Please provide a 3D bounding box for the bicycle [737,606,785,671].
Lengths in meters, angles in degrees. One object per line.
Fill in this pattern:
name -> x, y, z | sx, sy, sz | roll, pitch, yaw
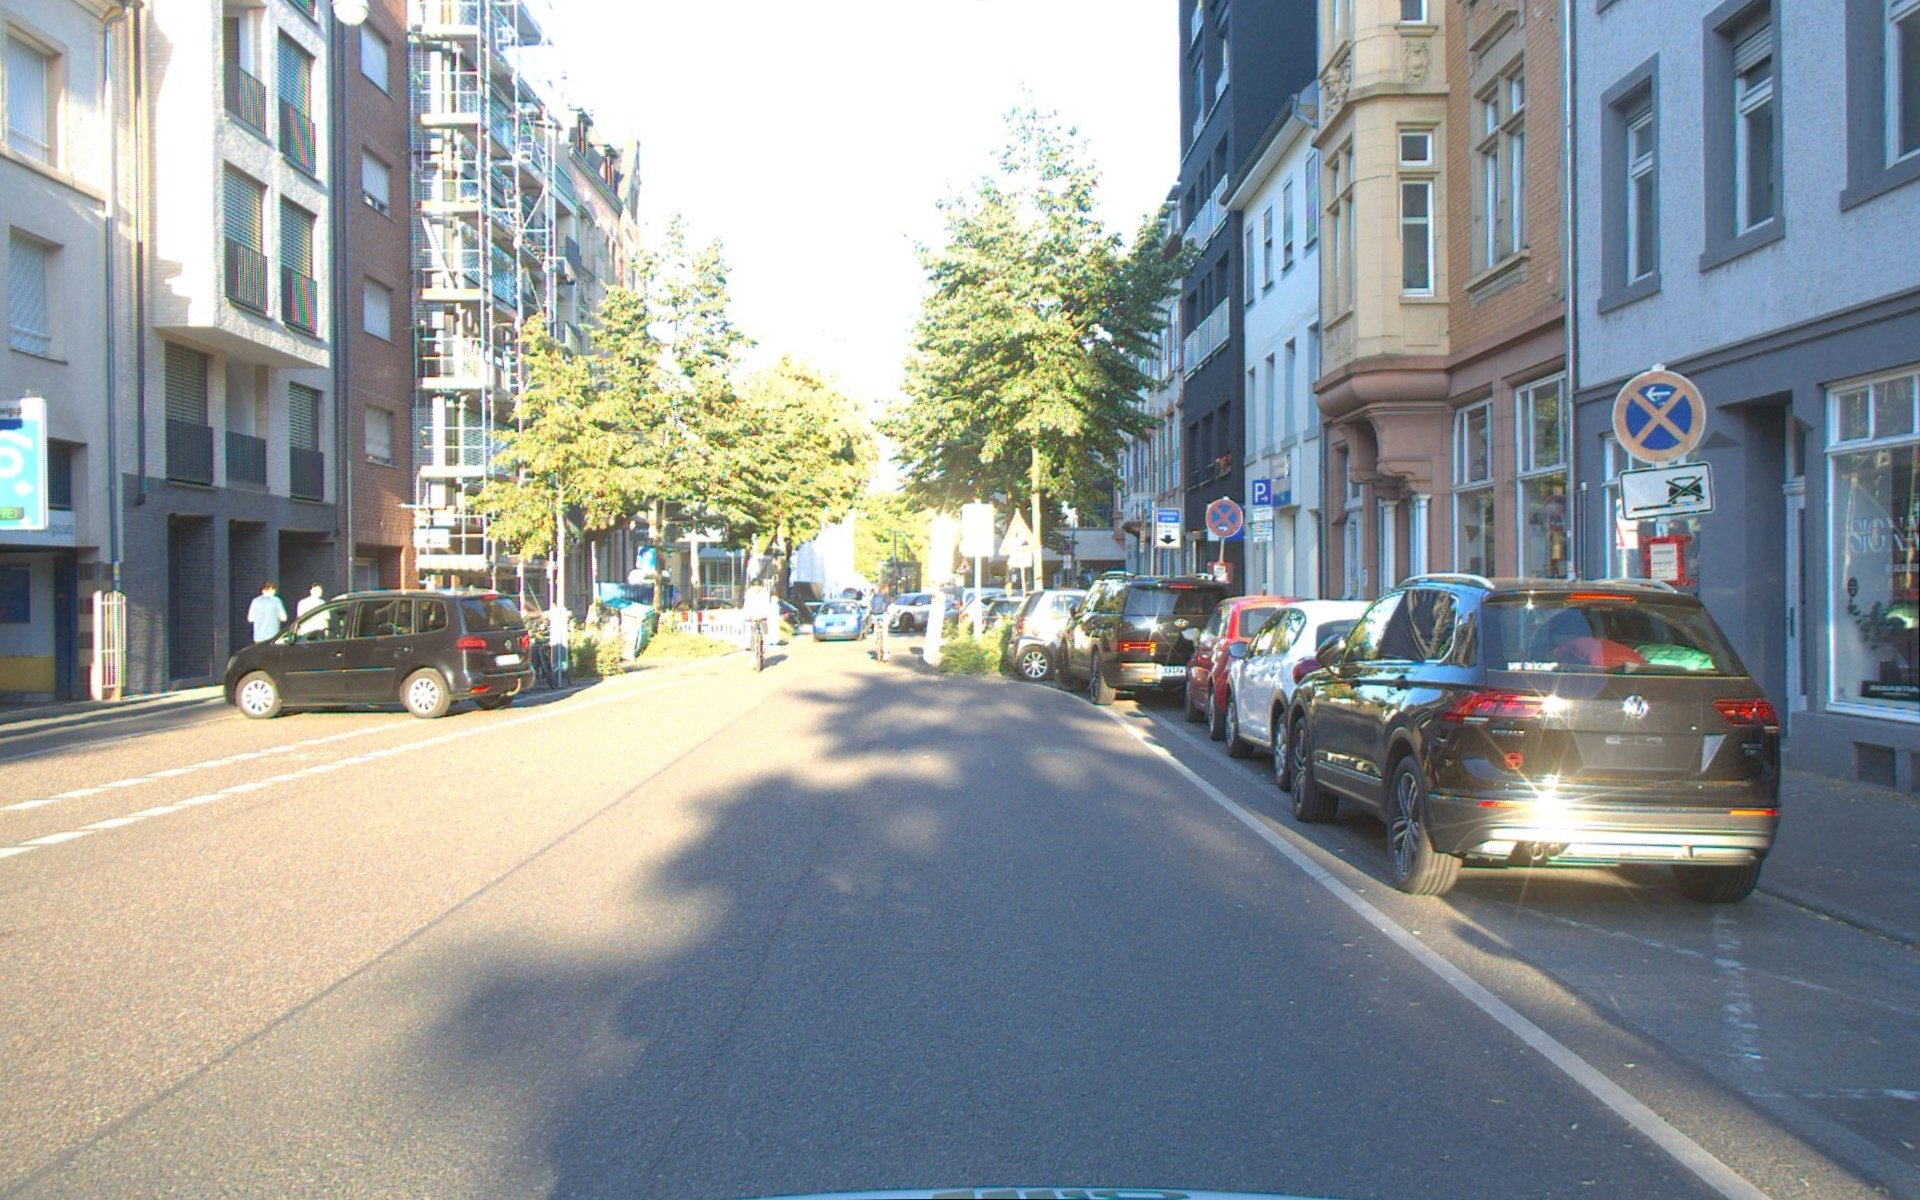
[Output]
bicycle -> -3.941, 0.745, 32.831 | 0.765, 1.225, 2.019 | -1, 0, -3

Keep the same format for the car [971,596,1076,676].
car -> 1.374, 0.781, 37.701 | 1.954, 1.697, 4.506 | 1, 0, -4

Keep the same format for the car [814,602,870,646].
car -> -4.094, 0.818, 57.933 | 1.801, 1.466, 4.329 | 1, 0, -3

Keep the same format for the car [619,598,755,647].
car -> -8.707, 0.705, 52.986 | 4.018, 1.491, 1.889 | 1, 0, 1

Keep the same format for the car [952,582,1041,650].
car -> 1.057, 0.477, 50.928 | 2.221, 1.796, 4.506 | 5, -1, -4

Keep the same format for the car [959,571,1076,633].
car -> 1.989, 0.052, 56.396 | 3.903, 2.049, 2.001 | -1, 0, 3

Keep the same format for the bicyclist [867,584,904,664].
bicyclist -> -1.664, 0.533, 36.848 | 0.765, 1.726, 1.006 | -1, 0, -3

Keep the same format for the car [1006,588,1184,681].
car -> 2.324, 0.593, 28.897 | 2.910, 1.563, 1.432 | 1, 0, -5

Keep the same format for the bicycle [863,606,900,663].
bicycle -> -1.752, 0.760, 36.922 | 0.765, 1.225, 2.019 | -1, 0, -3

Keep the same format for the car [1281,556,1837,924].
car -> 3.206, 0.665, 9.822 | 1.775, 1.697, 4.205 | 1, 0, 0

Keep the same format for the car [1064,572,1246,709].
car -> 2.624, 0.531, 23.218 | 1.788, 1.725, 4.365 | 1, 0, -4

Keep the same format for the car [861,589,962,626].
car -> -2.028, 0.350, 69.991 | 1.854, 1.506, 4.438 | 0, 0, 38

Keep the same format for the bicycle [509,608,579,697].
bicycle -> -6.889, 0.826, 27.528 | 0.829, 1.374, 3.180 | -1, 0, -9

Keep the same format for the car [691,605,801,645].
car -> -8.328, 0.952, 64.648 | 4.018, 1.491, 1.889 | 1, 0, 1

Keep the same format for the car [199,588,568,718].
car -> -7.823, 0.727, 22.552 | 4.399, 1.630, 2.001 | -1, -1, 17

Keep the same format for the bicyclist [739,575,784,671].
bicyclist -> -3.936, 0.455, 32.872 | 0.765, 1.861, 1.006 | -1, 0, -3

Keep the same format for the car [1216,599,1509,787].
car -> 3.360, 0.718, 14.489 | 1.632, 1.402, 3.802 | 1, 0, 0

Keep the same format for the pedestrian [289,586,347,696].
pedestrian -> -10.510, 0.665, 27.084 | 0.703, 1.771, 0.737 | 1, -1, -9

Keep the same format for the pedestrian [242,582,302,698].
pedestrian -> -10.908, 0.628, 26.239 | 0.703, 1.798, 0.693 | 1, -1, -9

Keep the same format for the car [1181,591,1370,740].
car -> 3.450, 0.680, 18.574 | 1.554, 1.509, 3.267 | 1, 0, 1
